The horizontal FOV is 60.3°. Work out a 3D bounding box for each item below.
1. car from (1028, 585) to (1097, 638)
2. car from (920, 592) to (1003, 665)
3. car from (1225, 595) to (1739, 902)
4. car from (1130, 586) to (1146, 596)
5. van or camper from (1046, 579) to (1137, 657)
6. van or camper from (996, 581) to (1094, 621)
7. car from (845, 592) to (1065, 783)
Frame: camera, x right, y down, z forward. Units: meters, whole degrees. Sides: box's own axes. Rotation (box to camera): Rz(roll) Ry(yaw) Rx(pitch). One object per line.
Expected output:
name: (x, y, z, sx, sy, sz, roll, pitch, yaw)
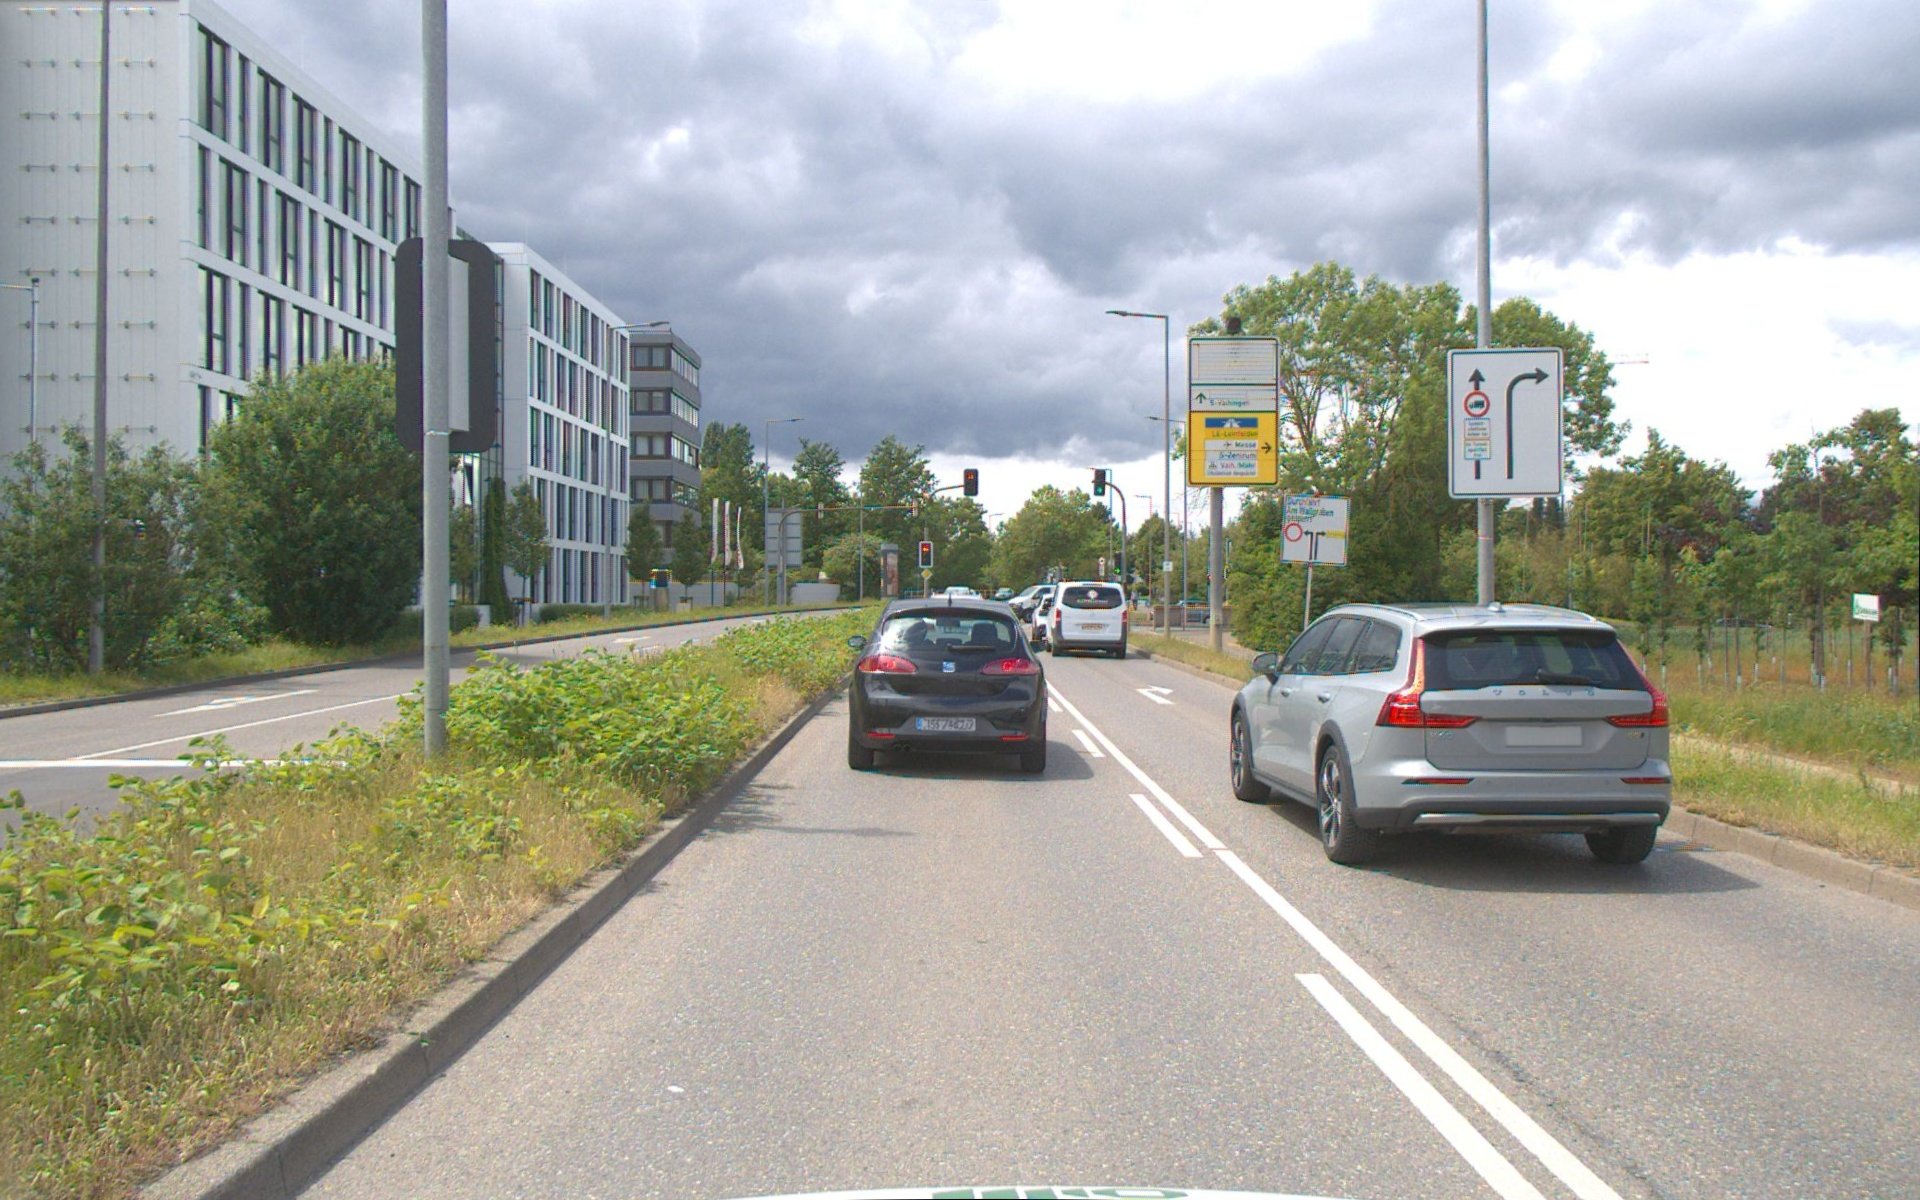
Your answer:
car: (3.338, 0.350, 54.404, 1.953, 1.660, 3.999, 0, 0, -1)
car: (0.014, 0.585, 36.176, 1.737, 1.517, 3.582, 0, 0, -1)
car: (3.030, 0.749, 10.680, 1.825, 1.545, 4.445, 0, 0, -2)
car: (25.402, -1.229, 235.583, 1.951, 1.375, 4.004, 1, 0, 10)
van or camper: (3.338, 0.427, 42.736, 1.953, 1.892, 4.943, 0, 0, 0)
van or camper: (4.454, 0.079, 86.553, 4.732, 2.049, 1.987, 0, 0, -22)
car: (0.004, 0.695, 15.131, 1.736, 1.477, 3.583, 2, 0, 1)
